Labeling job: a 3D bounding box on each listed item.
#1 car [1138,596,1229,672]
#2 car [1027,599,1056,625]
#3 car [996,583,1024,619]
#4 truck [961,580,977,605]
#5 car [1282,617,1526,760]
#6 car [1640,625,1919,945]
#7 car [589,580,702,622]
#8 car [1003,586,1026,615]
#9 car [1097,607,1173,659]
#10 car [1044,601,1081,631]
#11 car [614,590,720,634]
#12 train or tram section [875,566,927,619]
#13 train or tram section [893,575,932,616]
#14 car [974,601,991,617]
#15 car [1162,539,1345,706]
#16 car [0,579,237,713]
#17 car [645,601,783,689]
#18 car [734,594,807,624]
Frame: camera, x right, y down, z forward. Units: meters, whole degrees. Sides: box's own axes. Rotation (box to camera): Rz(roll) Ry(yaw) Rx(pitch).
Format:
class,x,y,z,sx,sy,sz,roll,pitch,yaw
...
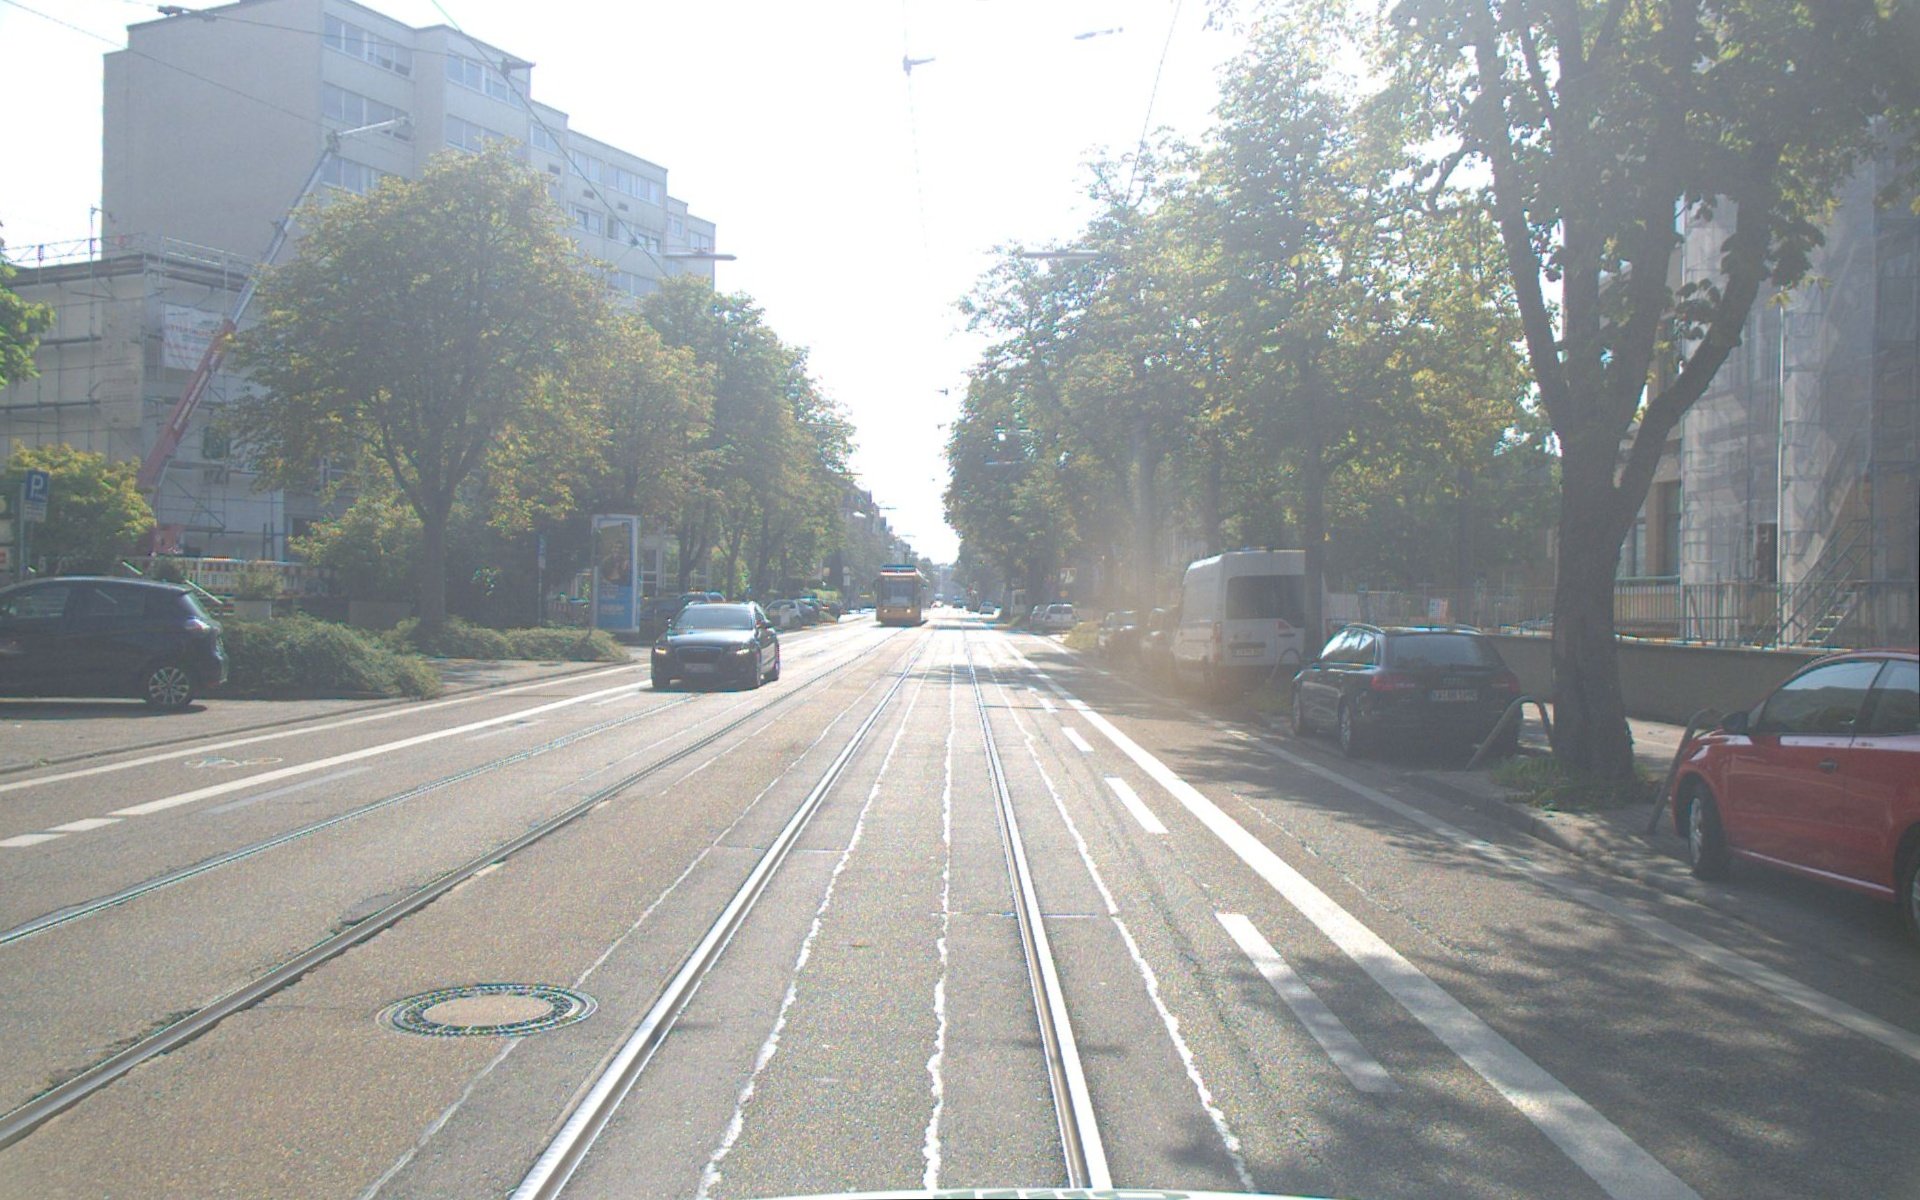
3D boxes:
class,x,y,z,sx,sy,sz,roll,pitch,yaw
car,5.201,0.755,38.895,1.630,1.645,3.877,-1,1,0
car,4.704,0.676,95.673,1.562,1.443,3.634,1,0,1
car,3.738,0.101,123.768,1.963,2.534,4.477,2,0,1
truck,1.112,-0.978,212.545,1.823,3.185,4.350,1,0,-2
car,4.978,0.926,19.220,1.583,1.398,4.827,0,0,1
car,5.274,0.888,8.916,1.583,1.438,4.000,0,0,0
car,-11.492,0.050,60.593,3.764,1.467,1.667,1,0,-43
car,4.926,0.048,150.907,1.963,2.518,4.477,1,0,1
car,5.085,0.923,48.492,1.717,1.402,4.718,-1,0,0
car,5.058,0.784,82.033,1.655,1.443,3.634,1,0,1
car,-11.269,0.469,63.750,1.715,1.650,3.768,1,0,45
train or tram section,-3.471,-0.417,100.763,2.673,2.945,15.453,0,0,0
train or tram section,-3.518,-0.312,124.025,2.625,2.912,10.543,0,0,0
car,2.753,1.102,200.894,1.952,1.870,4.000,1,0,1
car,5.086,0.355,29.478,2.040,2.597,5.500,-3,0,-2
car,-10.829,0.546,20.196,3.588,1.542,1.609,2,0,-26
car,-4.212,0.732,28.996,1.791,1.400,4.512,1,0,-1
car,-9.752,0.464,85.519,1.541,1.468,3.744,1,0,39
